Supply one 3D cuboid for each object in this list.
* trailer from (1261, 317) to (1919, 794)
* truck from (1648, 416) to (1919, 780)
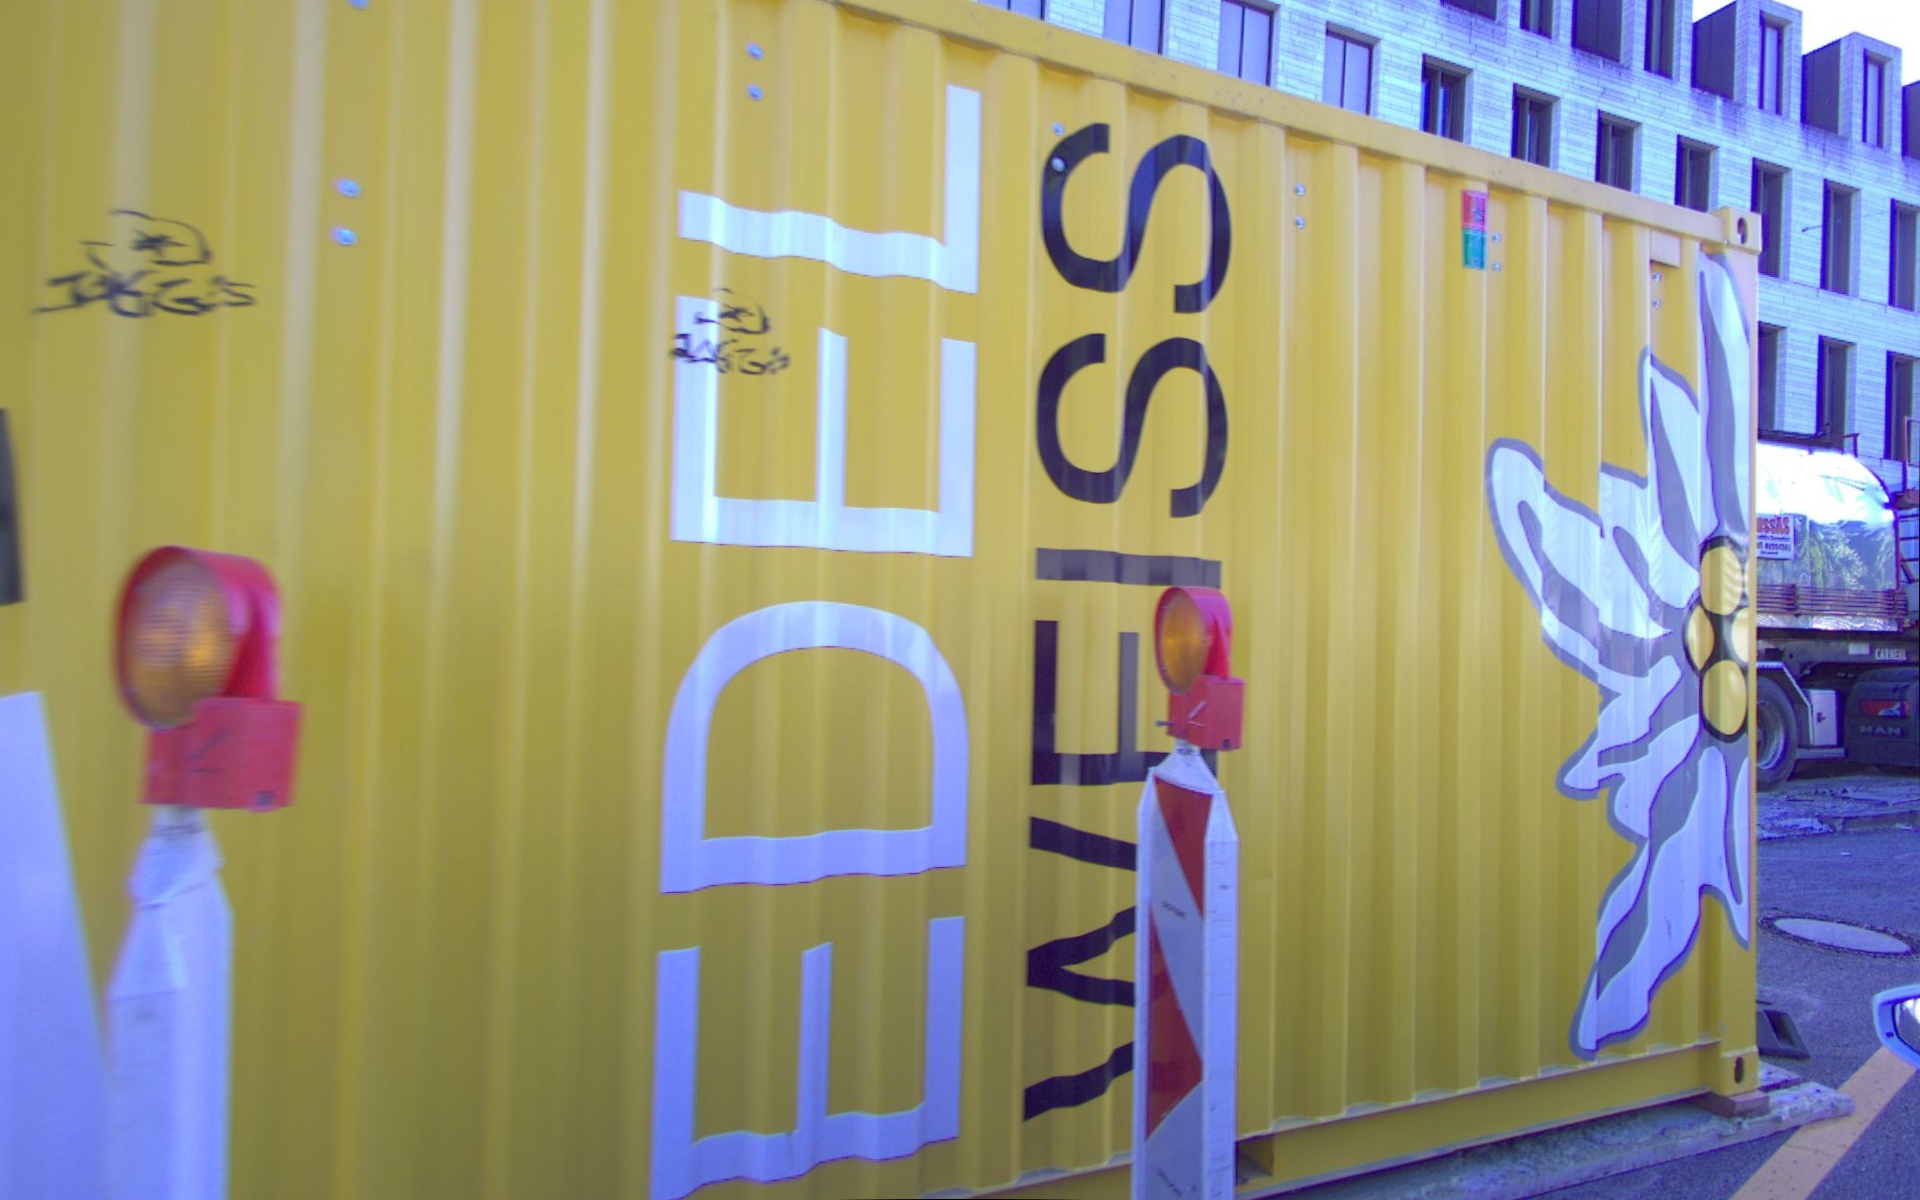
[{"bbox_3d":[7.599,-0.143,10.513,8.616,3.715,2.640,2,-5,-21],"label":"trailer"},{"bbox_3d":[11.517,0.108,11.872,5.724,3.534,2.579,1,-4,-18],"label":"truck"}]
